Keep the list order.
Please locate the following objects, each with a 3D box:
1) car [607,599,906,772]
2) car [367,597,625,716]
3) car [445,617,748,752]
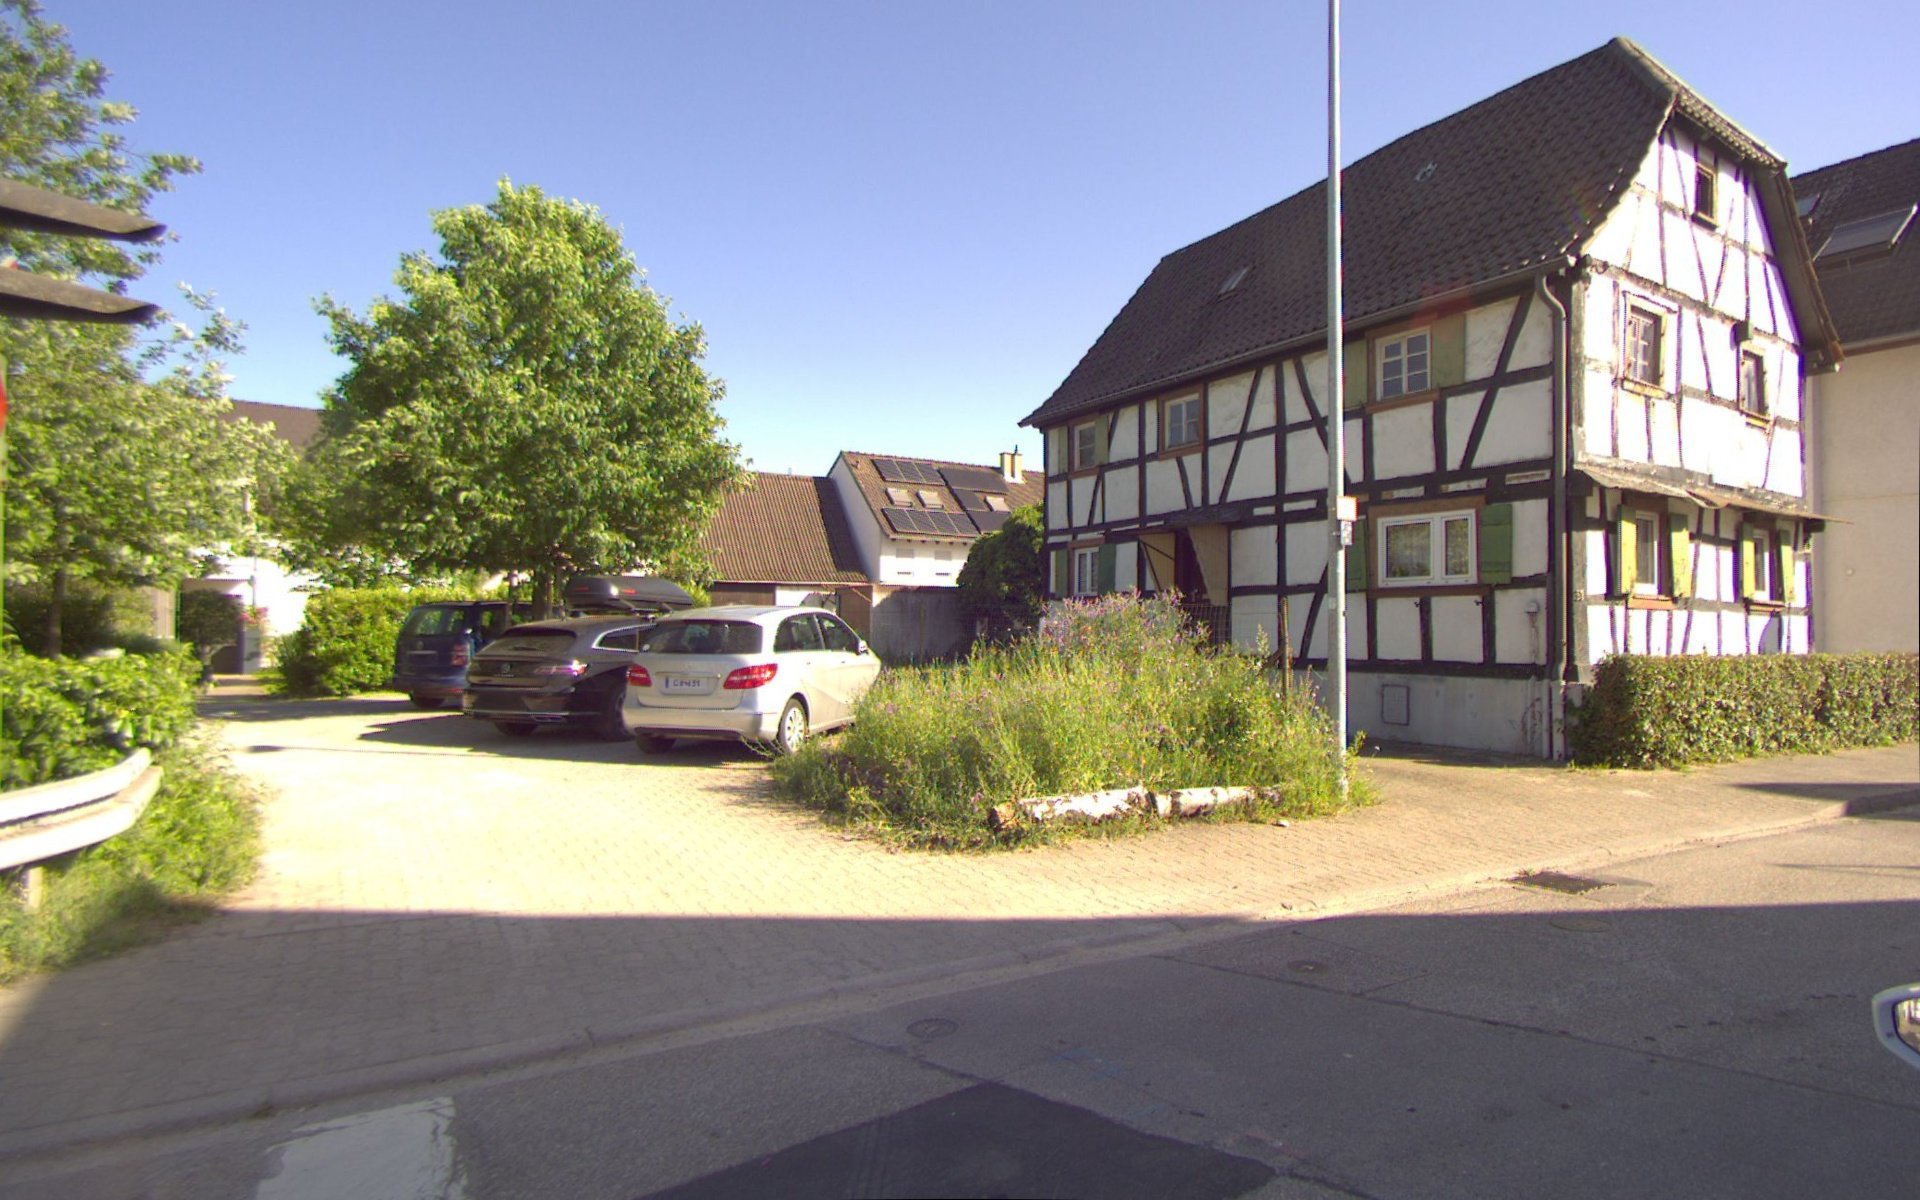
[{"bbox_3d":[-2.100,0.847,11.594,1.655,1.585,4.001,1,-1,17],"label":"car"},{"bbox_3d":[-7.268,0.852,16.190,1.619,1.655,3.834,0,-2,17],"label":"car"},{"bbox_3d":[-4.336,0.936,12.639,1.609,1.420,3.833,0,-1,17],"label":"car"}]
